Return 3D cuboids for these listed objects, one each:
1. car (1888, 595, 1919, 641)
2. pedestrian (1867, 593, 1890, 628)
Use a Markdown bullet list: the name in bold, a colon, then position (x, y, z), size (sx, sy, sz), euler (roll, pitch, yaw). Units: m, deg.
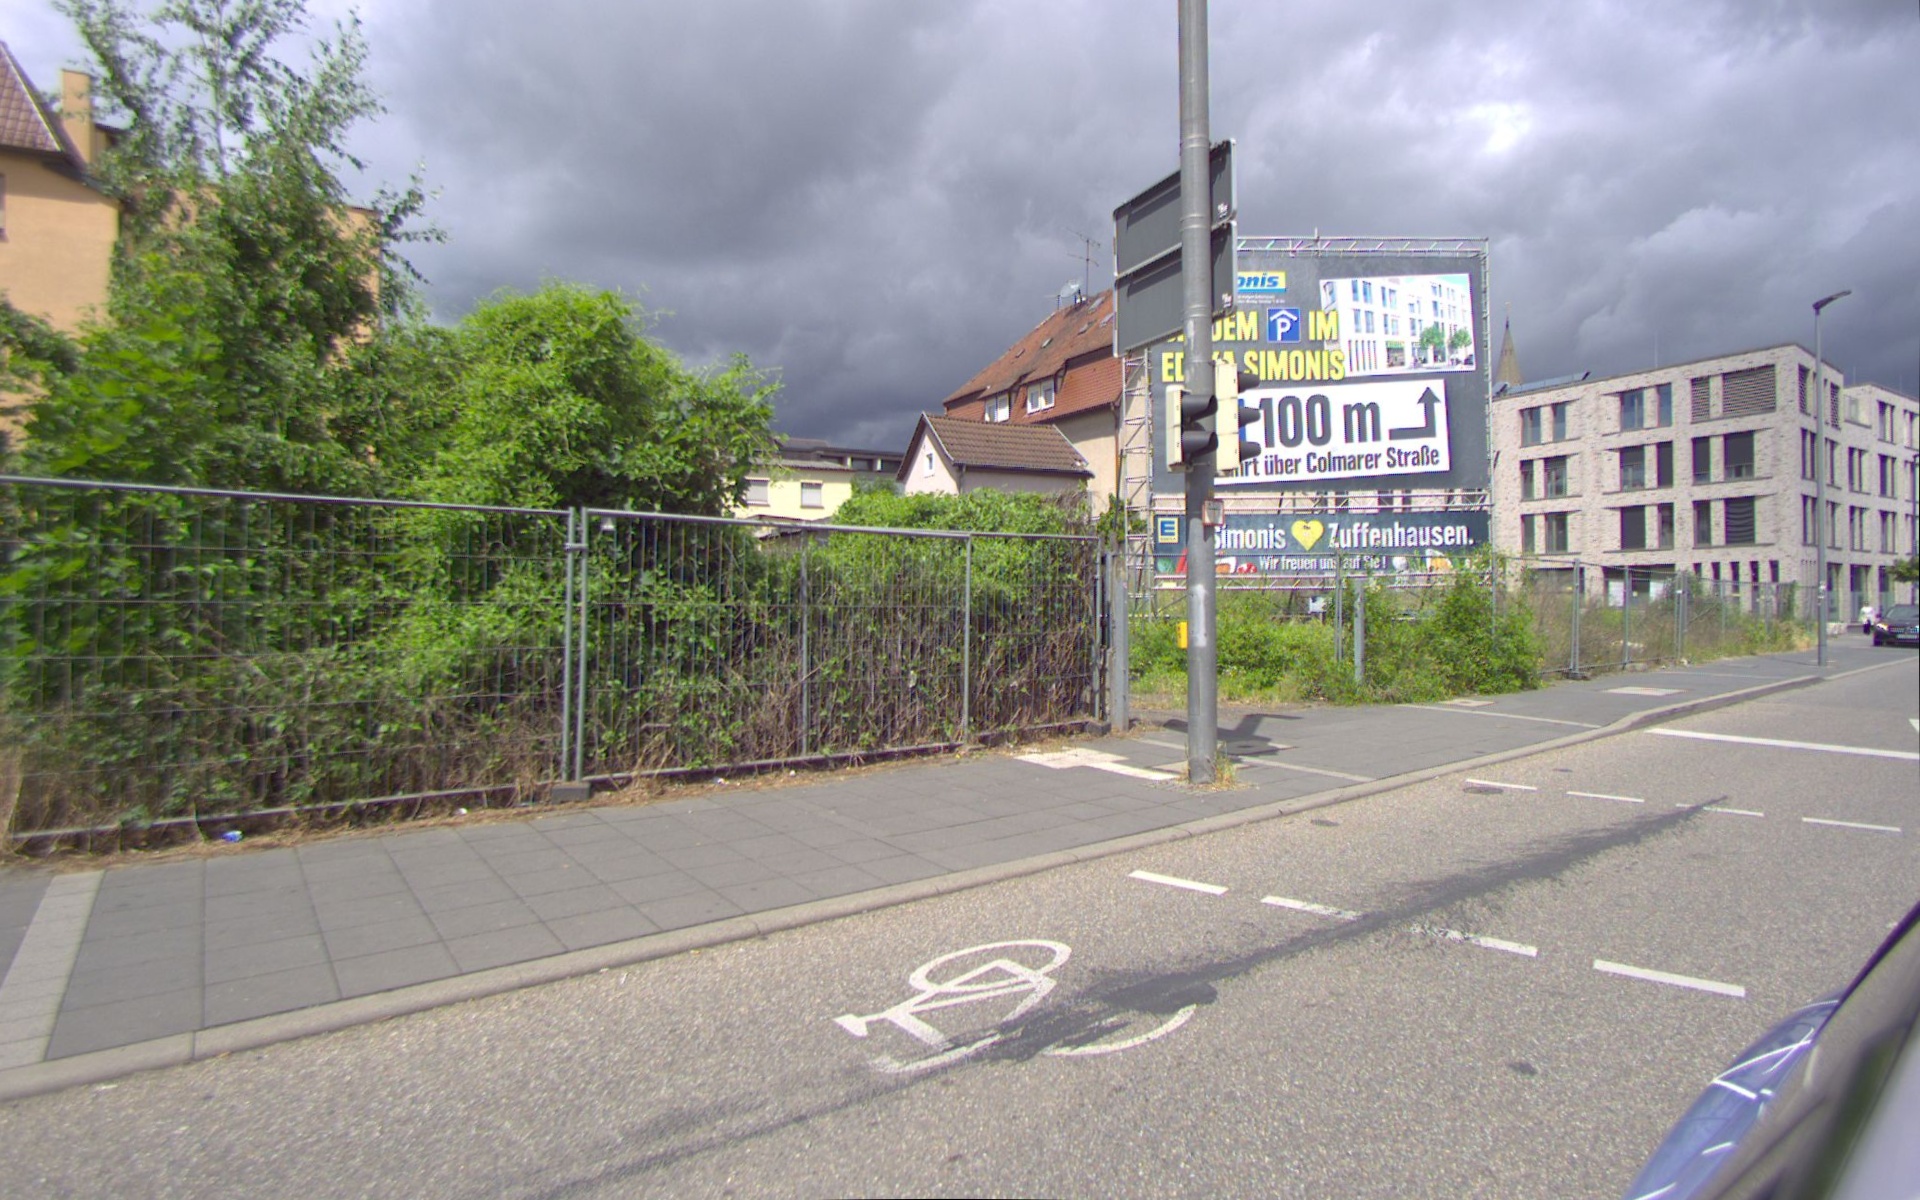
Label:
- **car**: position (32.719, 0.597, 34.029), size (3.726, 1.441, 1.678), euler (-1, 2, -39)
- **pedestrian**: position (40.261, 0.461, 44.365), size (0.769, 1.531, 0.673), euler (1, 0, -41)
